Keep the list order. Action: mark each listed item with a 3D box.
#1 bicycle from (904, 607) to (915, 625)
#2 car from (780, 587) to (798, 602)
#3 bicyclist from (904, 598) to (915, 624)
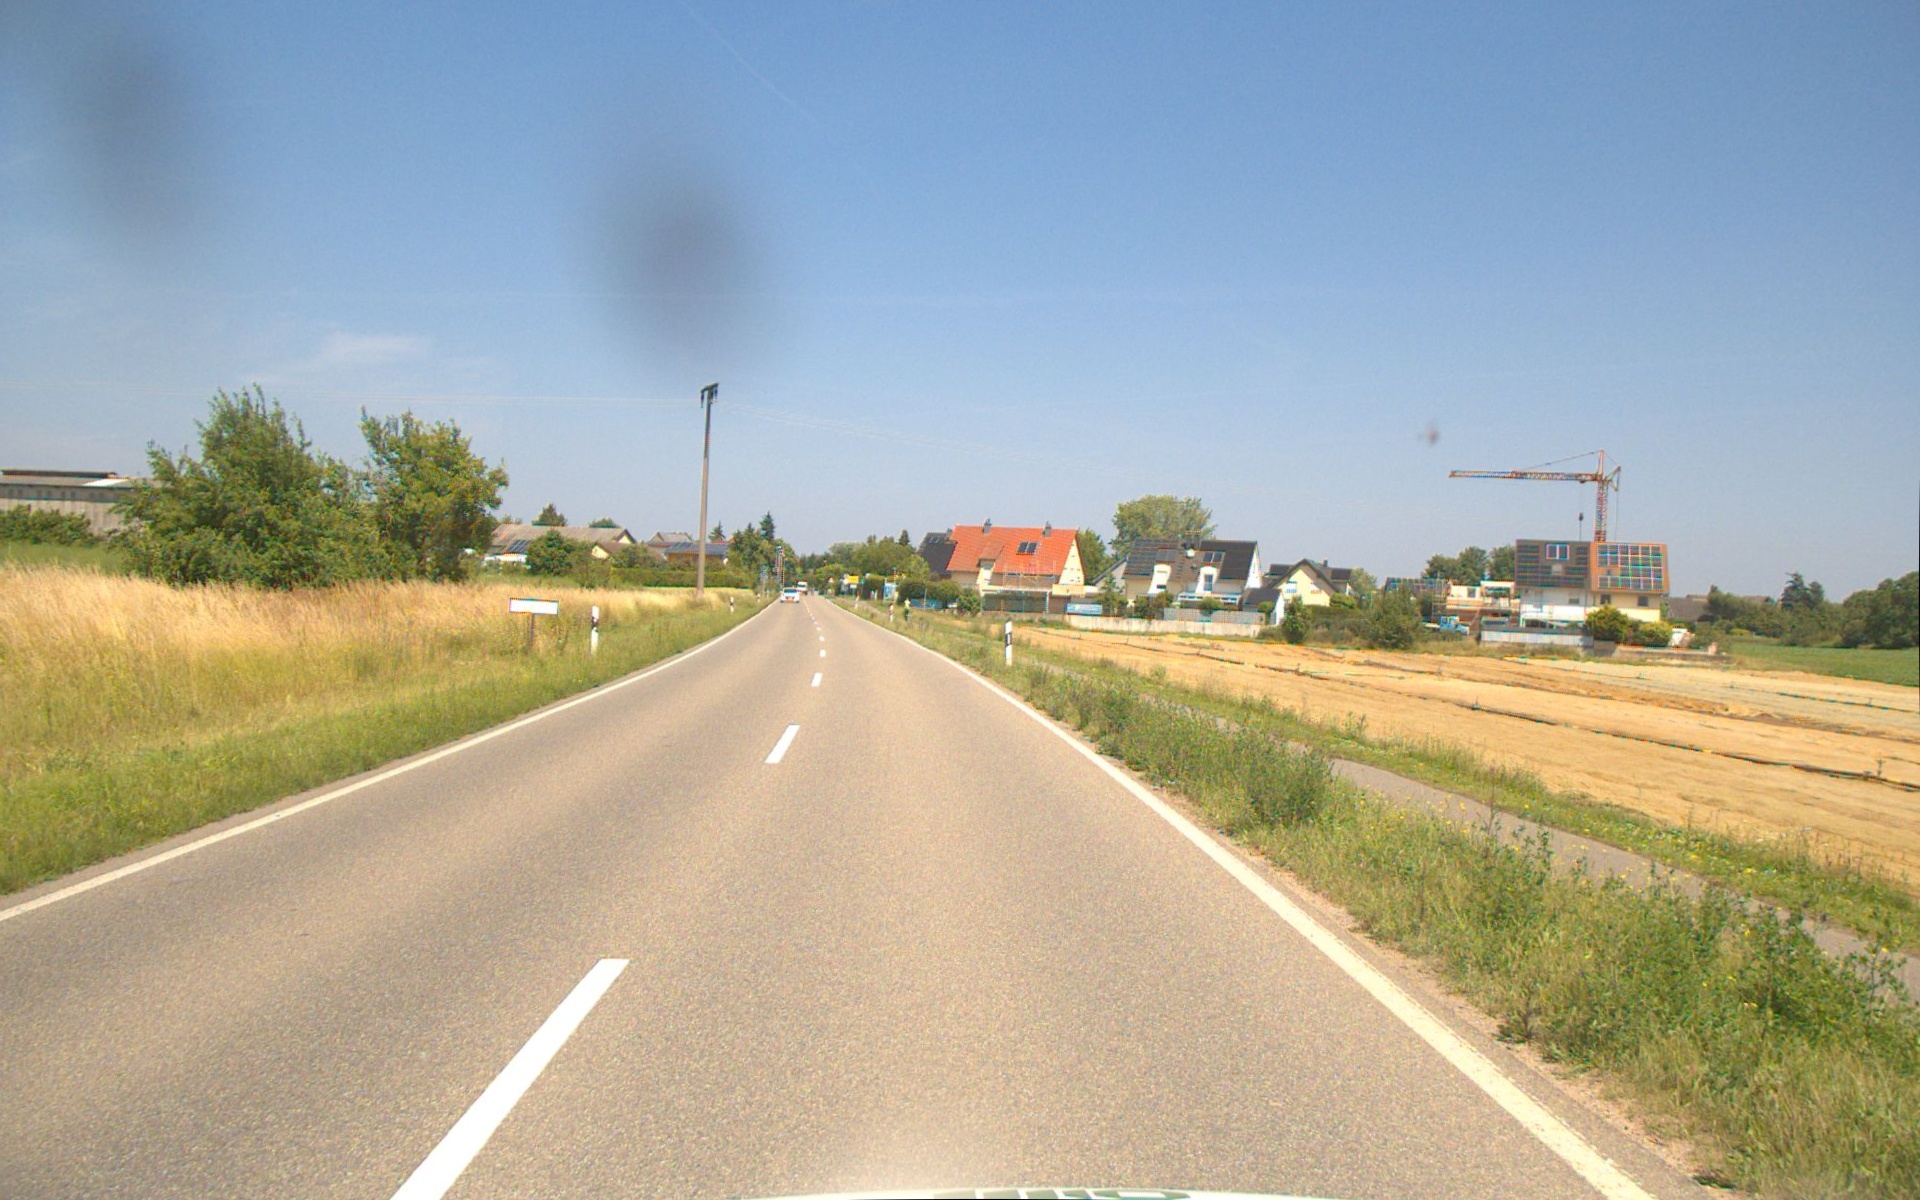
[{"bbox_3d":[-3.757,1.194,122.392,0.599,1.178,2.271,4,1,-6],"label":"bicycle"},{"bbox_3d":[-16.756,-0.529,162.032,1.757,1.434,4.180,2,0,-6],"label":"car"},{"bbox_3d":[-3.738,0.809,122.432,0.632,1.922,0.860,4,1,-7],"label":"bicyclist"}]
